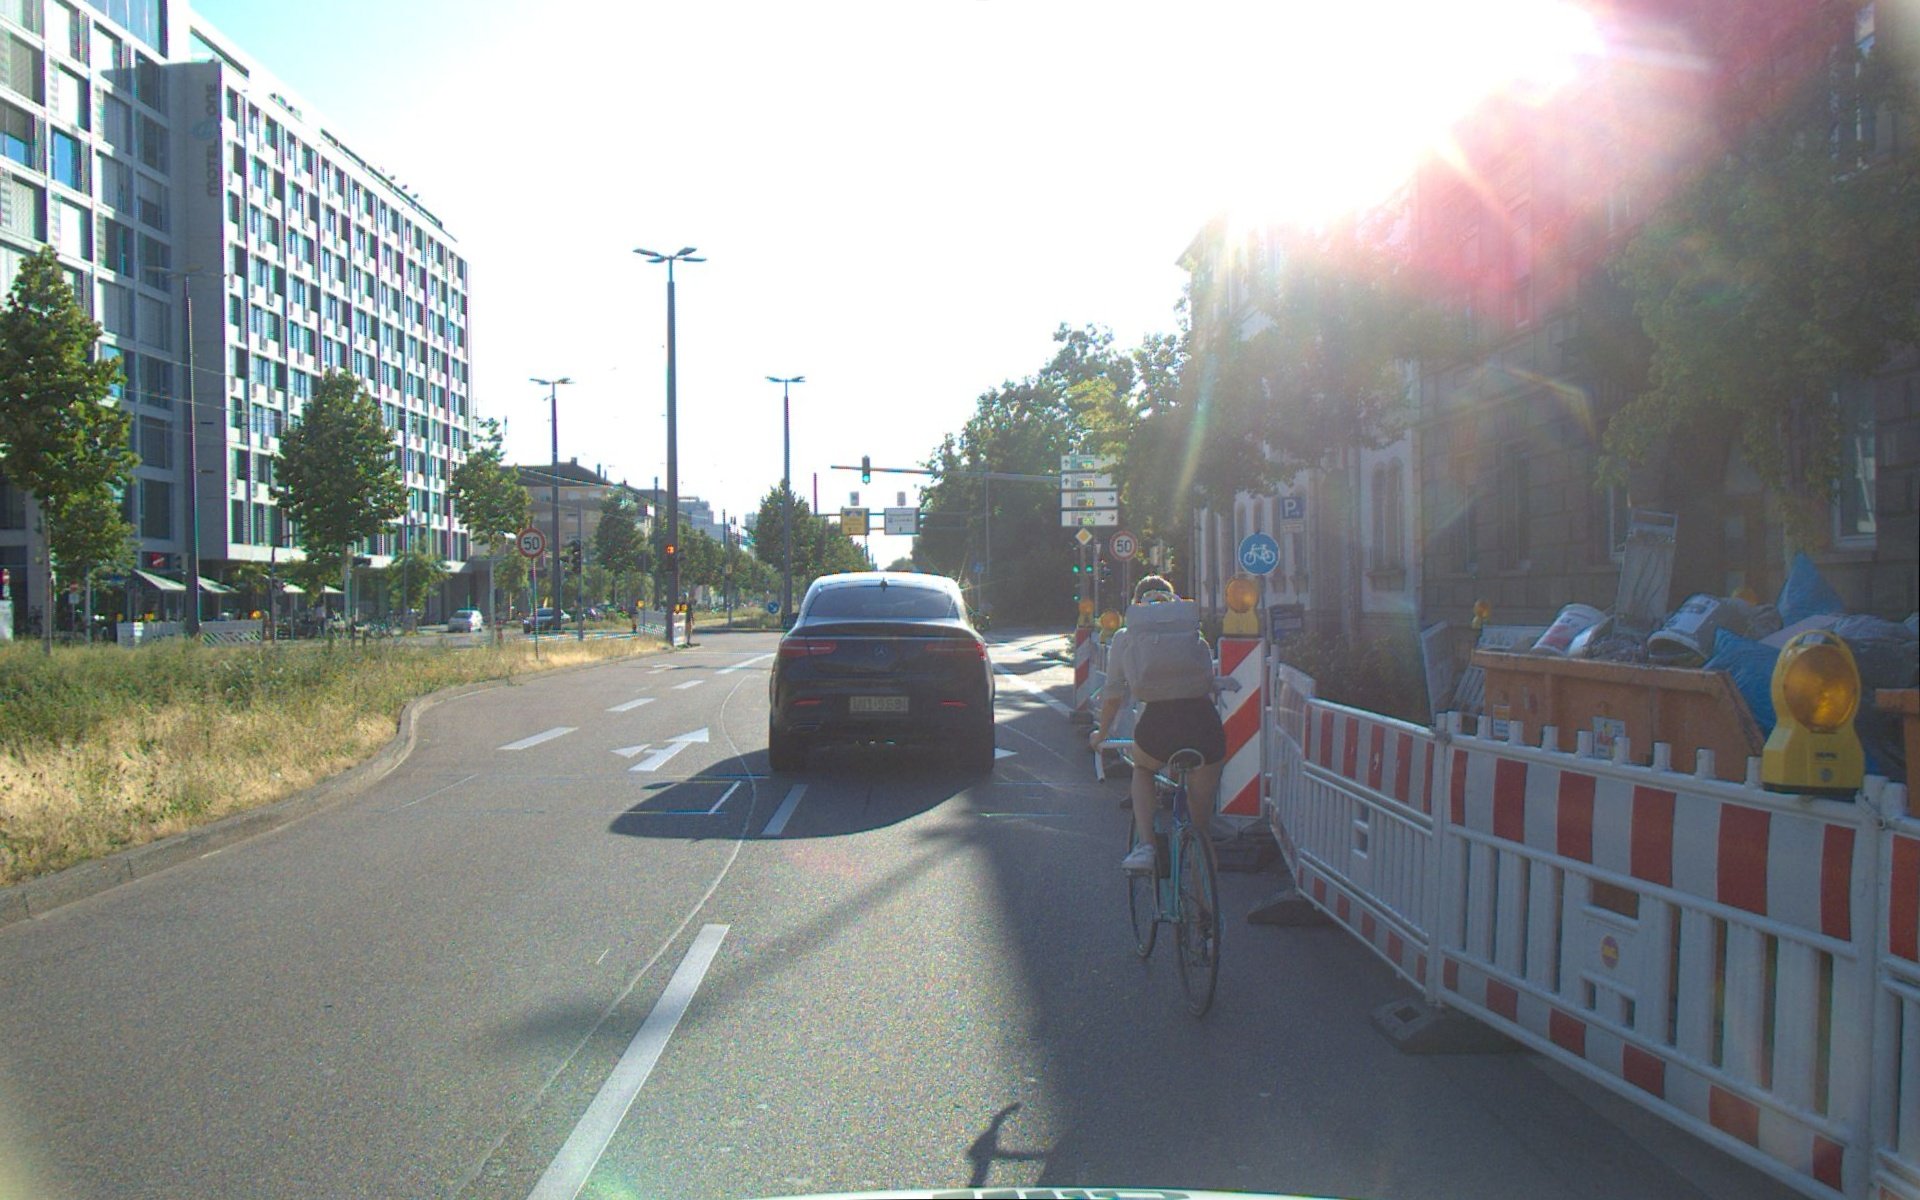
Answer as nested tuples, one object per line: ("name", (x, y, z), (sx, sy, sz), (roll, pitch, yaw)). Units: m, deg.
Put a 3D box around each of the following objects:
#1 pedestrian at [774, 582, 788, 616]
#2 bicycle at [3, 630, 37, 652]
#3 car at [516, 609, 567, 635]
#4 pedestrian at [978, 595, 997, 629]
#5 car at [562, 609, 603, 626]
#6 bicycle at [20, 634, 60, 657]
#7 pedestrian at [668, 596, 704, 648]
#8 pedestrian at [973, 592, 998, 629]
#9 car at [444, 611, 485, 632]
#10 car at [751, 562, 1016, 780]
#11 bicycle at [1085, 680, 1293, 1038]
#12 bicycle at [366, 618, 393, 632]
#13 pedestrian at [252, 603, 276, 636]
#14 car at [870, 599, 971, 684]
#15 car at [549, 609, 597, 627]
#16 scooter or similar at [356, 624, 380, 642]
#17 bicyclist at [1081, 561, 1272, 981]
("pedestrian", (-9.152, -0.033, 84.567), (0.586, 1.729, 0.714), (-1, 0, 3))
("bicycle", (-42.427, 1.835, 74.674), (0.525, 0.952, 1.900), (-1, 0, -2))
("car", (-23.985, 1.232, 94.931), (1.853, 1.367, 4.848), (-1, 0, -2))
("pedestrian", (1.395, 0.608, 83.738), (0.752, 1.665, 0.768), (-3, 0, -11))
("car", (-36.218, 1.707, 158.735), (3.596, 1.550, 1.595), (2, -1, -43))
("bicycle", (-41.558, 2.054, 74.750), (0.606, 0.952, 2.215), (-1, 0, -2))
("pedestrian", (-8.965, 0.714, 54.132), (0.904, 1.678, 0.766), (-1, 0, 10))
("pedestrian", (1.311, 0.558, 84.559), (0.850, 1.833, 0.896), (-3, 0, -36))
("car", (-34.544, 1.485, 115.482), (1.721, 1.351, 3.999), (0, 0, -1))
("car", (-0.859, 0.551, 15.553), (1.958, 1.765, 3.990), (0, 1, -11))
("bicycle", (0.856, 0.933, 6.599), (0.510, 1.116, 1.842), (-1, 0, -1))
("bicycle", (-42.074, 1.801, 119.845), (1.770, 0.921, 0.511), (-1, 0, -8))
("pedestrian", (-36.922, 1.043, 87.776), (0.851, 1.751, 0.804), (-1, 0, 8))
("car", (-0.808, 0.771, 32.806), (1.859, 1.554, 4.057), (-1, 0, -2))
("car", (-36.284, 1.678, 155.022), (4.062, 1.629, 1.723), (2, 0, -43))
("scooter or similar", (-34.235, 1.899, 95.714), (1.218, 1.037, 0.435), (-1, 0, -1))
("bicyclist", (0.830, 0.617, 6.568), (0.541, 1.517, 1.080), (-1, 0, -3))
